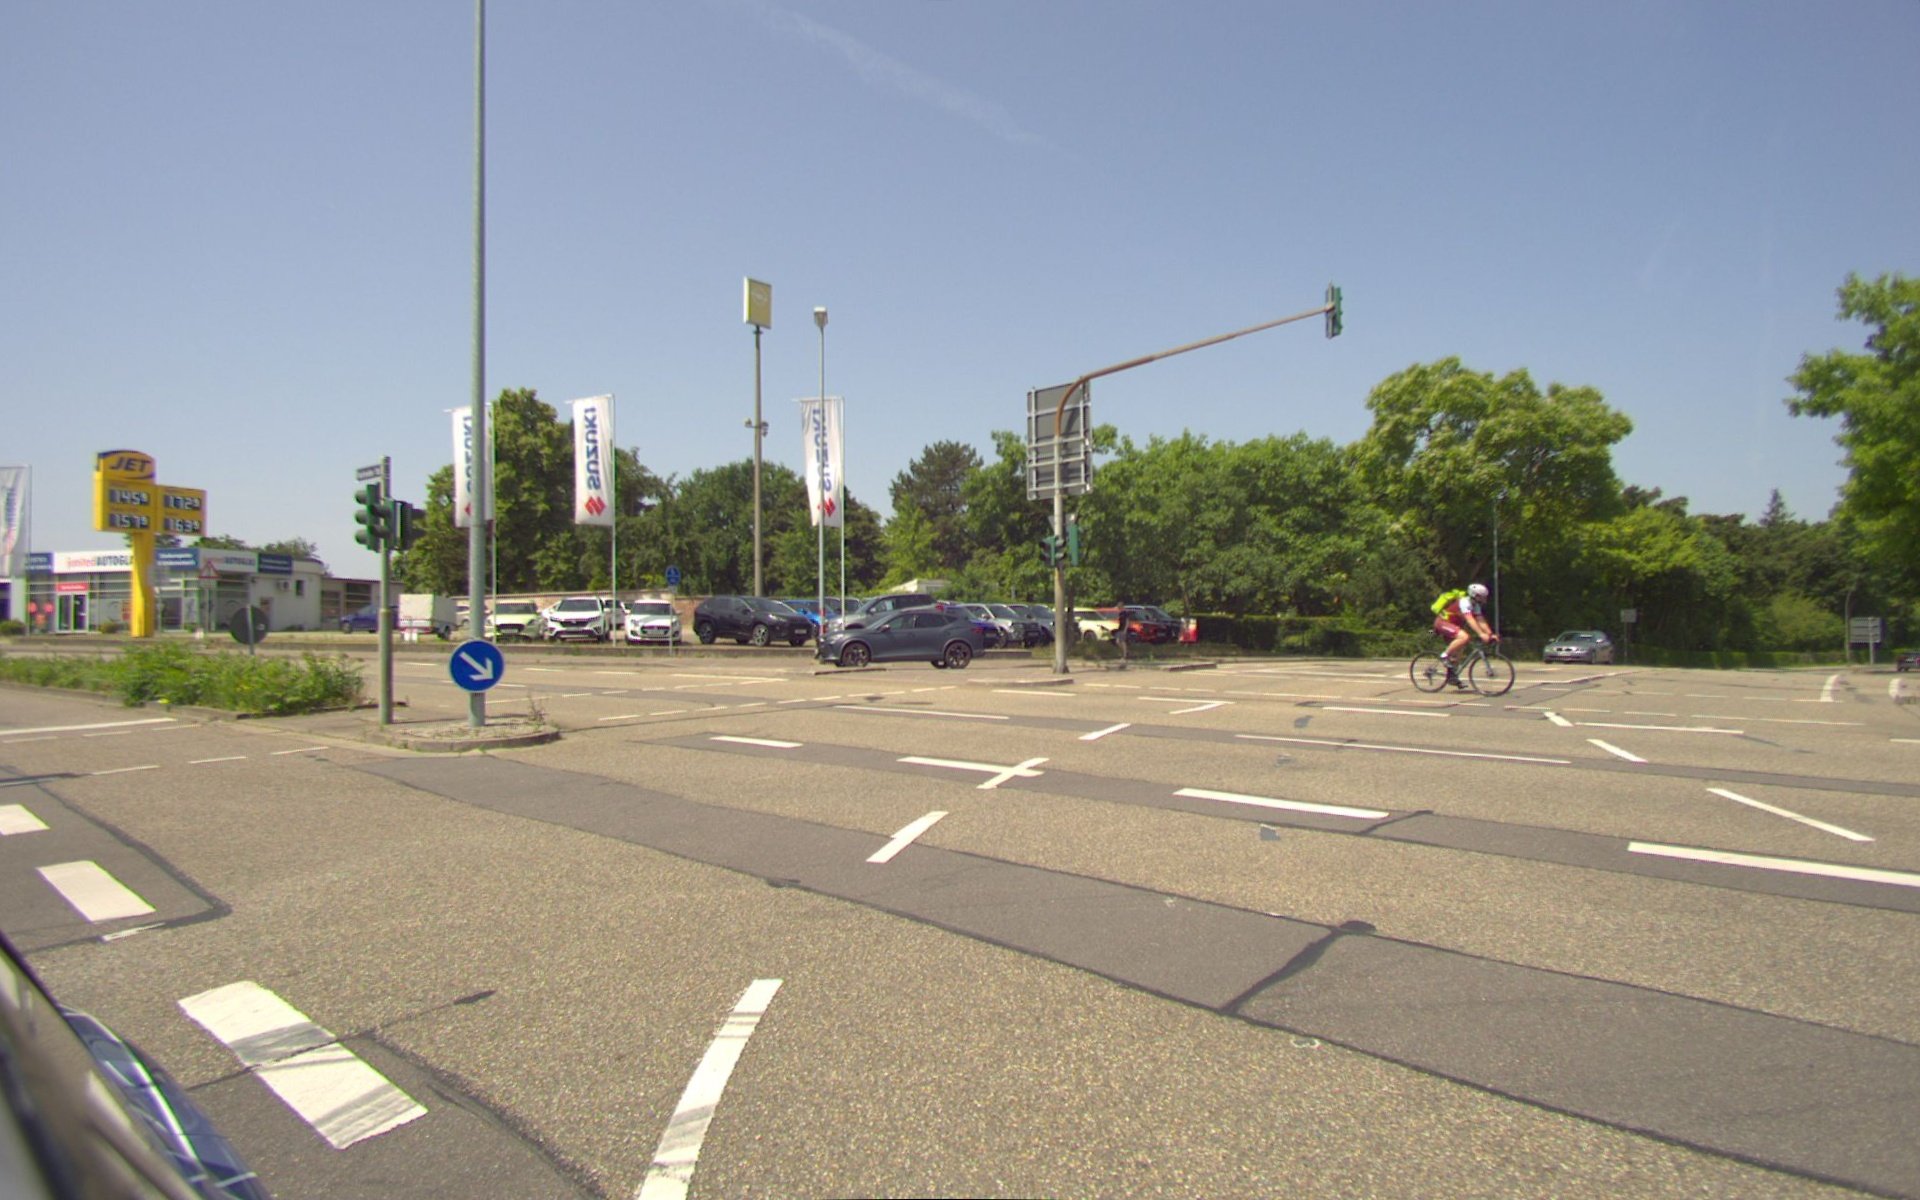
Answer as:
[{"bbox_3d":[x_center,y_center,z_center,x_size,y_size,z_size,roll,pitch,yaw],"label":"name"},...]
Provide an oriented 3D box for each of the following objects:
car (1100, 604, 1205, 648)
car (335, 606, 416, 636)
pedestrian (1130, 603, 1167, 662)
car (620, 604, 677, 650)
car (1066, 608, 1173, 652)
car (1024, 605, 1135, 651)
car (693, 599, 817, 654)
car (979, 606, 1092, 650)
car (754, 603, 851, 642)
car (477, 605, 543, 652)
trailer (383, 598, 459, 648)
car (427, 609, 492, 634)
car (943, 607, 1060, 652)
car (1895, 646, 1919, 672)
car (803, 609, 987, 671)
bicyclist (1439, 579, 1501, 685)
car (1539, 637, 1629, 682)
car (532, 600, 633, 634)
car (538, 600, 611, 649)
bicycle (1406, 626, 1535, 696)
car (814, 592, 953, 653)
[{"bbox_3d":[8.292,1.097,43.627,3.994,1.763,1.975,-1,0,37],"label":"car"},{"bbox_3d":[-30.216,1.096,52.316,3.601,1.517,1.684,-1,-1,18],"label":"car"},{"bbox_3d":[6.119,1.041,32.783,0.977,1.885,0.808,-1,0,29],"label":"pedestrian"},{"bbox_3d":[-10.399,0.866,34.025,1.687,1.443,3.974,1,0,-15],"label":"car"},{"bbox_3d":[6.566,1.192,41.818,3.994,1.696,1.845,-1,0,37],"label":"car"},{"bbox_3d":[4.723,1.077,40.243,3.994,1.720,1.883,-1,0,37],"label":"car"},{"bbox_3d":[-6.844,0.836,33.706,4.006,1.737,1.823,0,0,36],"label":"car"},{"bbox_3d":[2.875,1.069,38.830,3.993,1.582,1.819,-1,-2,37],"label":"car"},{"bbox_3d":[-6.658,0.935,42.604,3.994,1.548,1.773,-1,0,37],"label":"car"},{"bbox_3d":[-15.627,0.937,35.297,1.727,1.521,3.832,-1,0,-19],"label":"car"},{"bbox_3d":[-19.409,0.804,36.535,1.667,1.717,2.438,-1,-1,-7],"label":"trailer"},{"bbox_3d":[-31.349,1.351,63.369,3.601,1.517,1.610,-1,-1,18],"label":"car"},{"bbox_3d":[1.493,1.036,36.986,3.994,1.548,1.773,-1,0,37],"label":"car"},{"bbox_3d":[76.695,4.734,81.338,3.939,1.917,2.002,1,-2,-43],"label":"car"},{"bbox_3d":[-1.696,1.058,26.064,4.365,1.497,2.009,1,-4,-16],"label":"car"},{"bbox_3d":[8.095,0.503,16.071,0.818,1.655,0.418,-2,-1,32],"label":"bicyclist"},{"bbox_3d":[26.329,2.447,42.620,4.687,1.622,1.765,-1,0,-39],"label":"car"},{"bbox_3d":[-18.936,0.871,50.786,4.715,1.662,1.685,-1,-1,17],"label":"car"},{"bbox_3d":[-13.114,0.779,34.612,1.886,1.552,3.973,-1,0,-14],"label":"car"},{"bbox_3d":[8.089,0.949,16.070,1.784,1.062,0.417,-1,0,33],"label":"bicycle"},{"bbox_3d":[-2.557,0.746,33.542,4.236,1.916,1.835,1,-1,-17],"label":"car"}]
